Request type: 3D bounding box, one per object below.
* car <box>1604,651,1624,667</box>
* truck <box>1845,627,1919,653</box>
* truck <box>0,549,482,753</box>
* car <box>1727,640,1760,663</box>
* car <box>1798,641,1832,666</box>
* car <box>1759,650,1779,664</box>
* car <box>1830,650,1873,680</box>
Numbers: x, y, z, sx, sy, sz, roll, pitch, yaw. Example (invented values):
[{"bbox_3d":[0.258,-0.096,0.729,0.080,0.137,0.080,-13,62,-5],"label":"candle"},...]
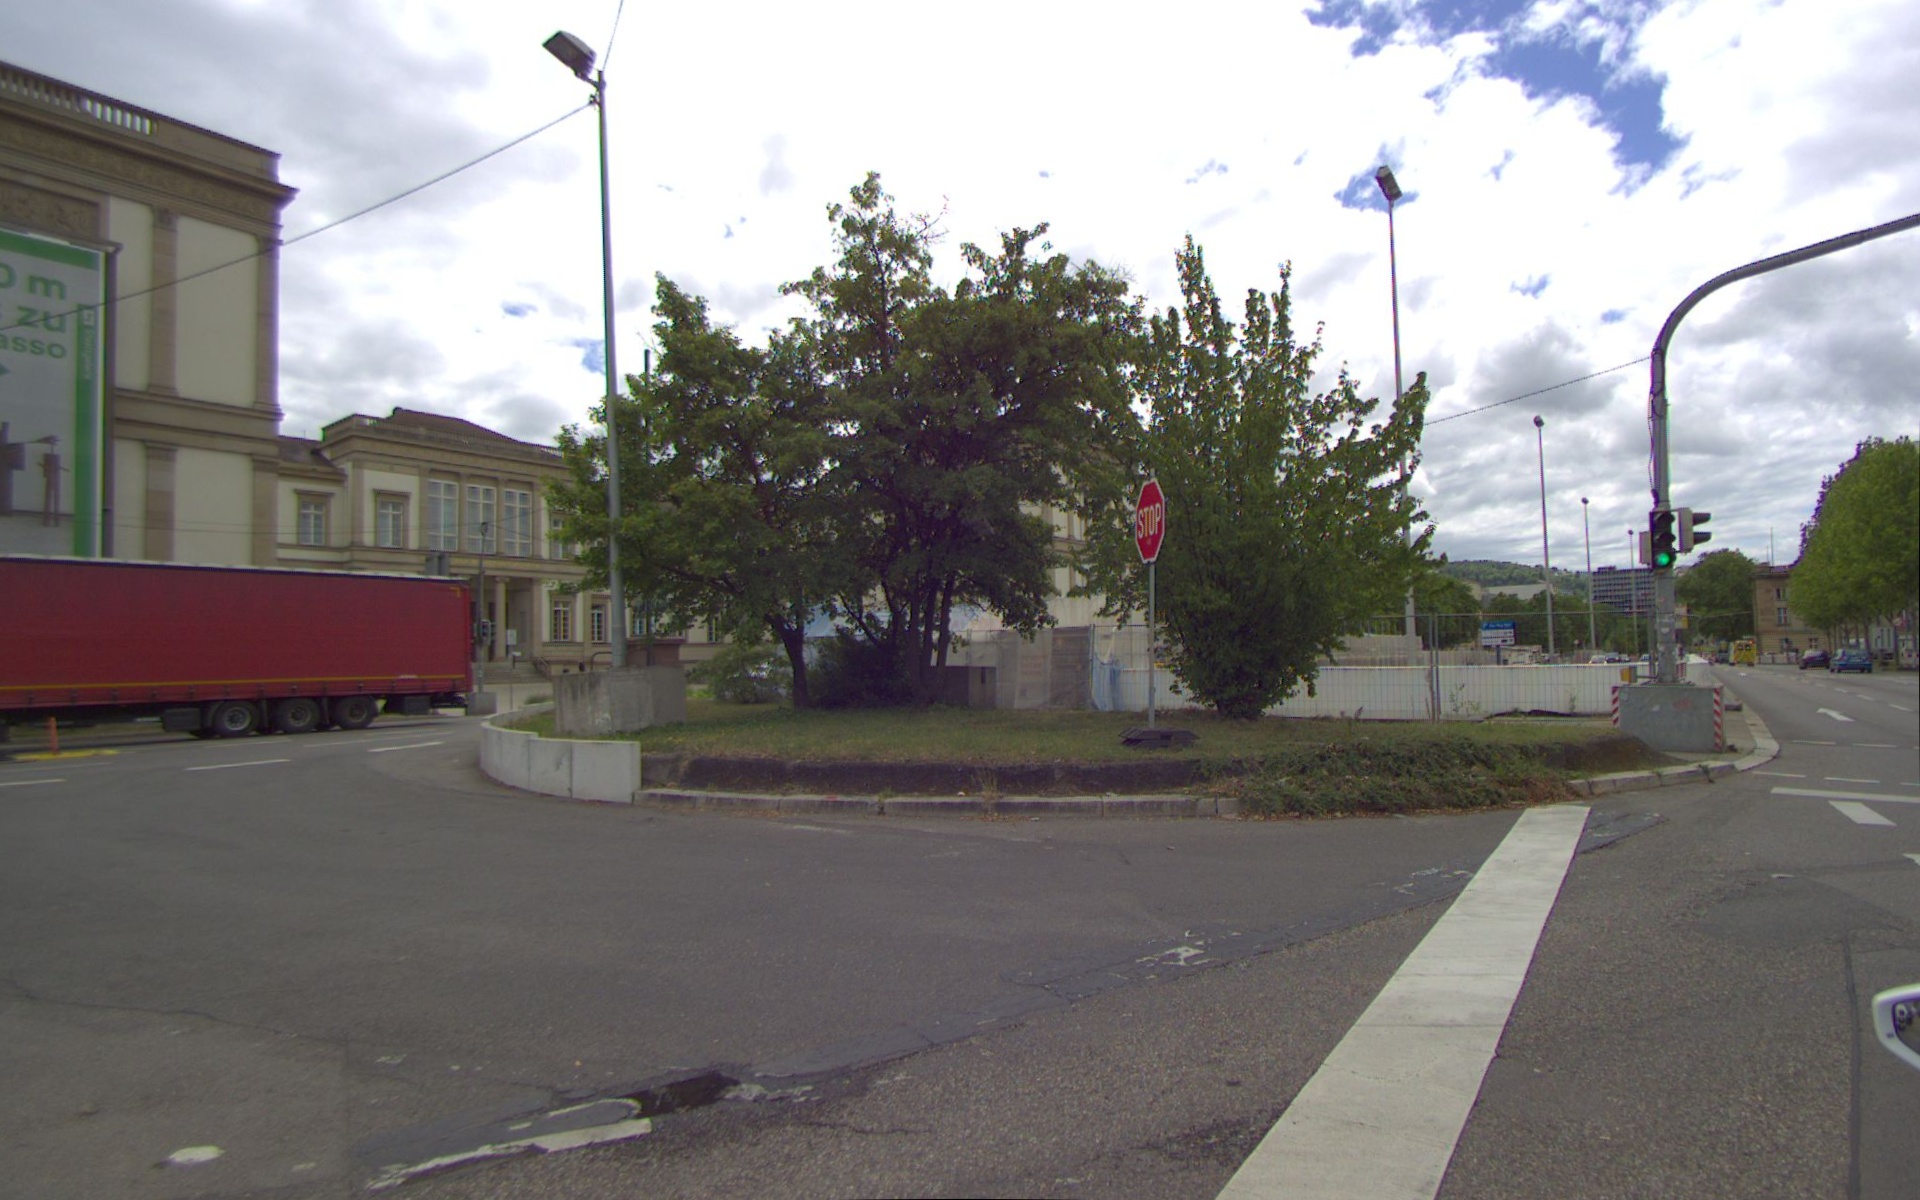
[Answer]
[{"bbox_3d":[89.666,8.137,137.711,1.968,2.040,3.987,-4,-3,35],"label":"car"},{"bbox_3d":[124.550,5.277,133.585,9.906,3.089,2.560,-4,-6,37],"label":"truck"},{"bbox_3d":[-19.622,1.181,22.626,2.882,4.135,16.549,-5,-5,37],"label":"truck"},{"bbox_3d":[87.953,5.751,112.721,2.553,2.404,5.500,-5,-5,40],"label":"car"},{"bbox_3d":[65.071,4.057,76.468,1.803,1.763,4.458,-5,-5,40],"label":"car"},{"bbox_3d":[102.699,7.251,127.467,1.803,1.763,4.458,-5,-5,40],"label":"car"},{"bbox_3d":[54.974,3.986,62.000,1.803,1.763,4.458,-5,-5,40],"label":"car"}]
